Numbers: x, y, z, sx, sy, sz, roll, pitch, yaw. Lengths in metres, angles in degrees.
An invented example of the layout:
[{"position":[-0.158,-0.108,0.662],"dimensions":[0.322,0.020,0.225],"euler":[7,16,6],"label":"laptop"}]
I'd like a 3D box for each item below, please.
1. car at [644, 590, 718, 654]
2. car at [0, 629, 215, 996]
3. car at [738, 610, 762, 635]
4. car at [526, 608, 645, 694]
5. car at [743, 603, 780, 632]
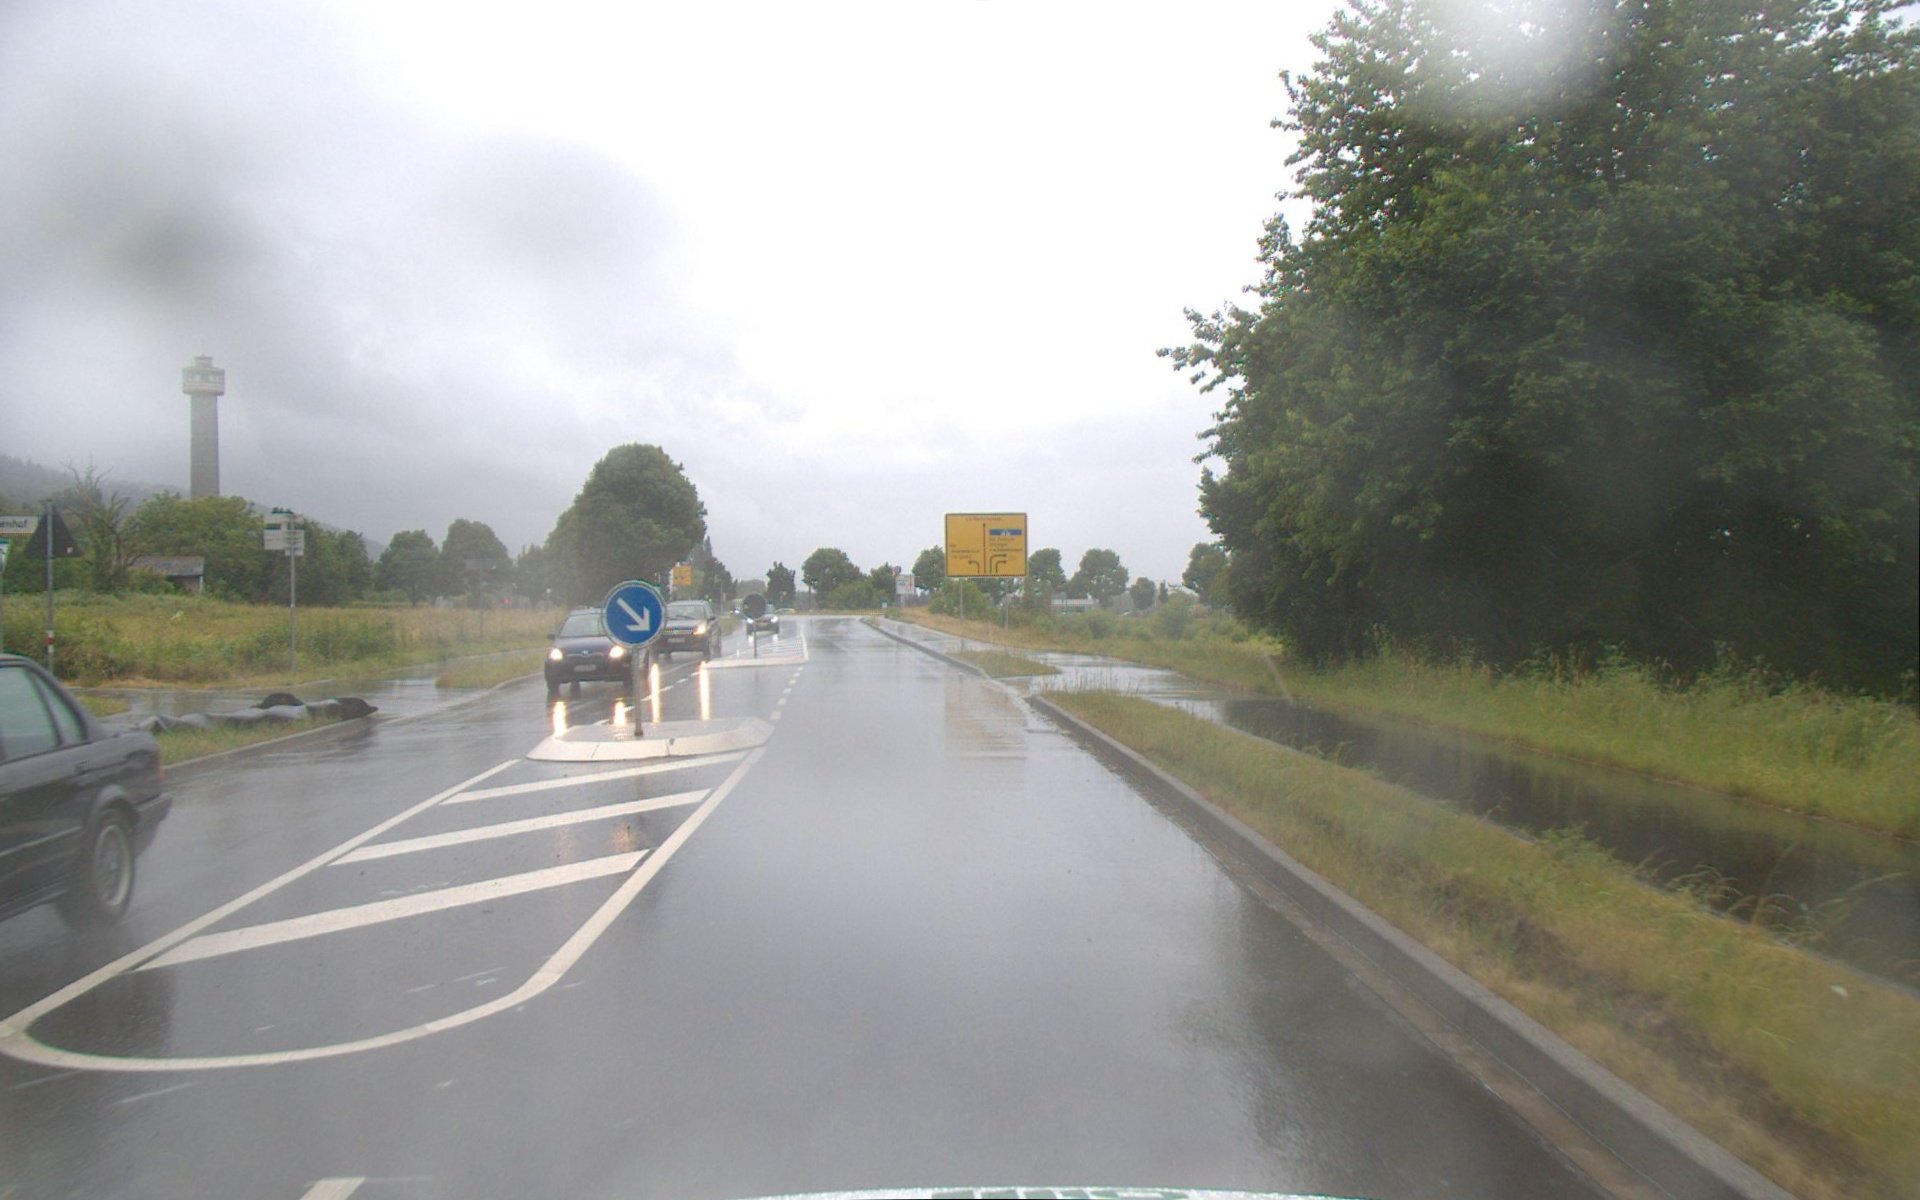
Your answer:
[{"position":[-8.383,0.620,49.910],"dimensions":[1.707,1.748,4.263],"euler":[-3,0,-4],"label":"car"},{"position":[-4.683,0.909,6.783],"dimensions":[1.650,1.407,4.219],"euler":[-3,0,-6],"label":"car"},{"position":[-18.662,1.987,147.346],"dimensions":[1.956,2.007,4.949],"euler":[-3,0,-7],"label":"car"},{"position":[-7.227,0.946,32.237],"dimensions":[1.707,1.470,3.678],"euler":[-3,0,-5],"label":"car"},{"position":[-10.413,0.905,87.041],"dimensions":[1.663,1.426,3.764],"euler":[-3,0,-4],"label":"car"}]
